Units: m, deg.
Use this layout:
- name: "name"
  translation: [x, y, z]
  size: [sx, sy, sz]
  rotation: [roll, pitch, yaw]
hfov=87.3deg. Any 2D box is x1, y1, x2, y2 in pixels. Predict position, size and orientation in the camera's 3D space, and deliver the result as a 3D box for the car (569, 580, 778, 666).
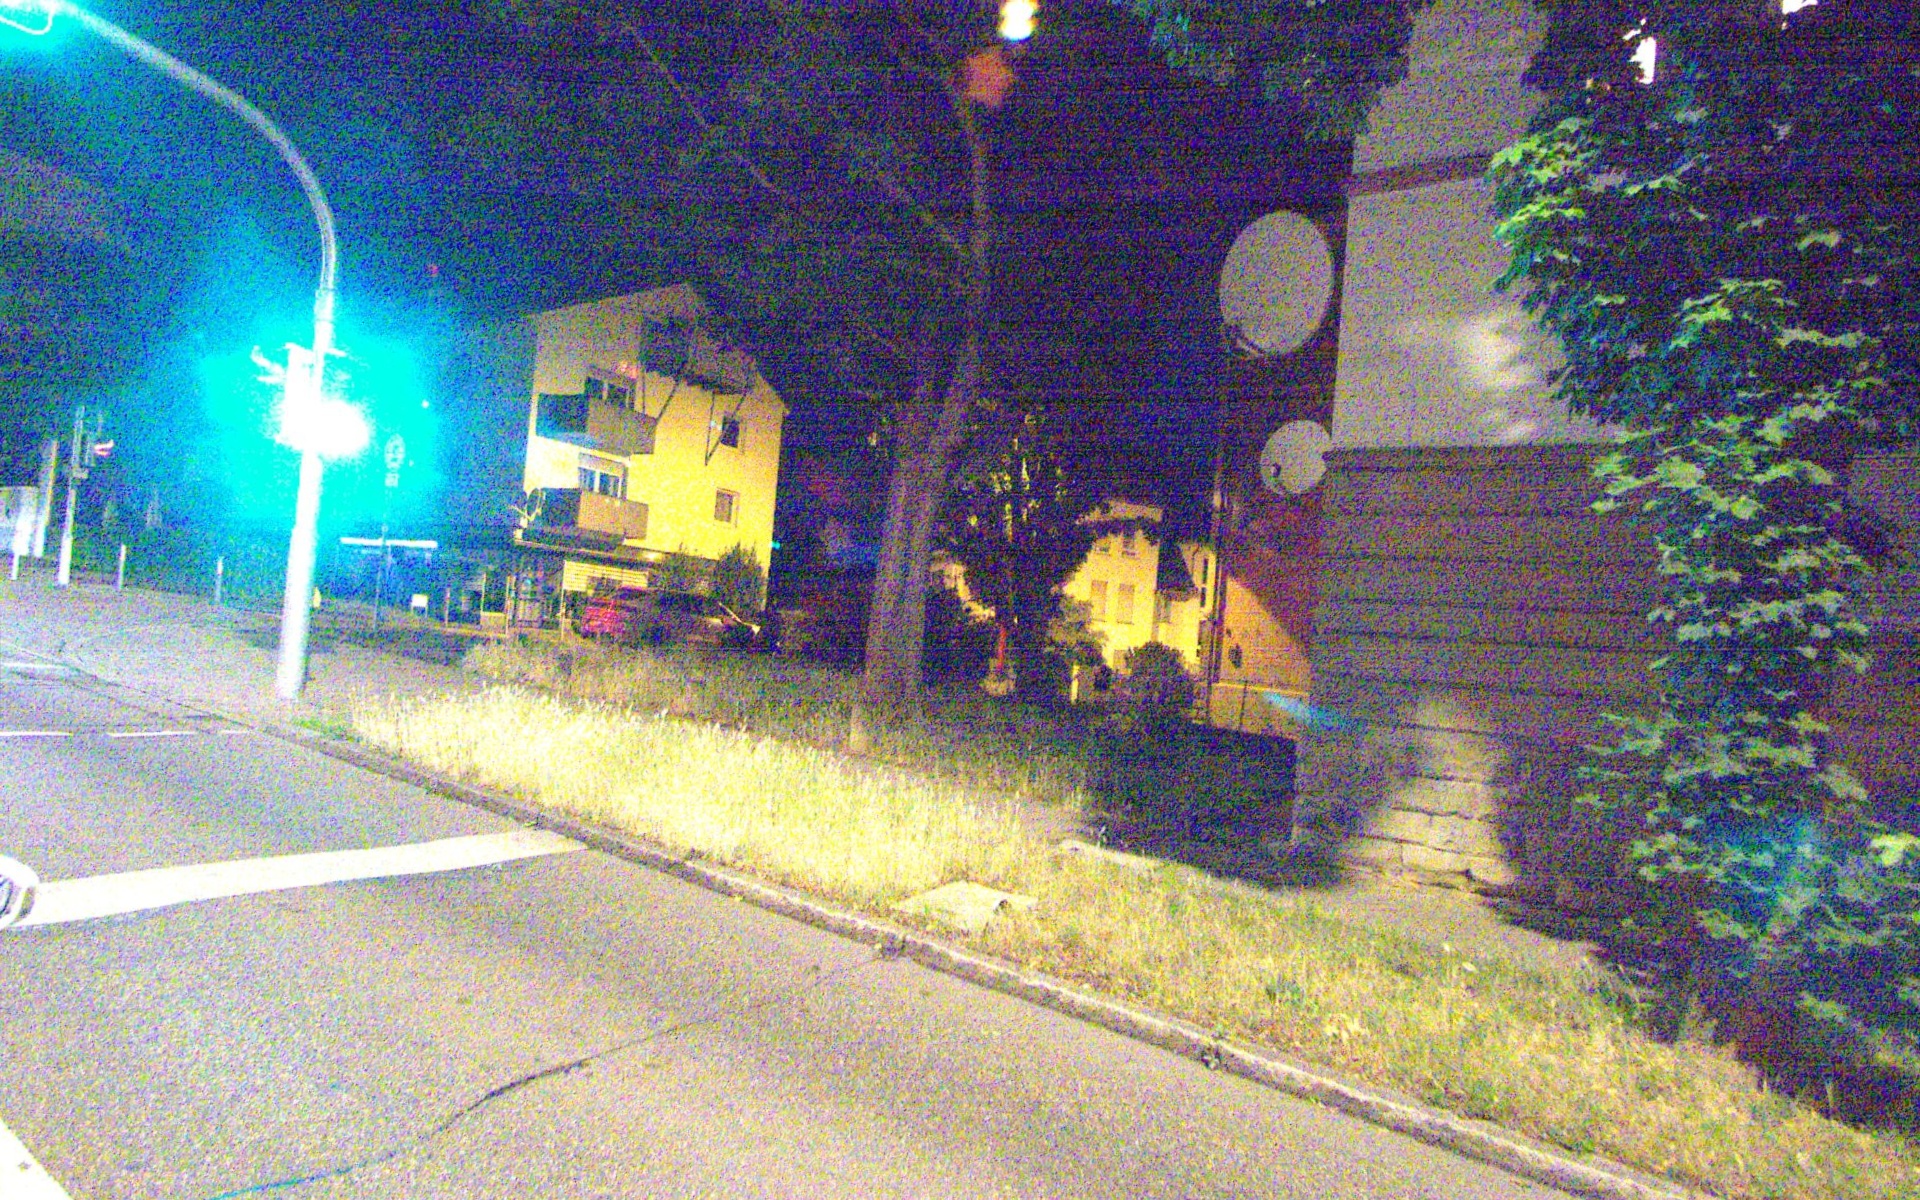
- name: "car"
  translation: [-6.506, 0.581, 23.295]
  size: [1.778, 1.577, 4.366]
  rotation: [3, -3, 38]
